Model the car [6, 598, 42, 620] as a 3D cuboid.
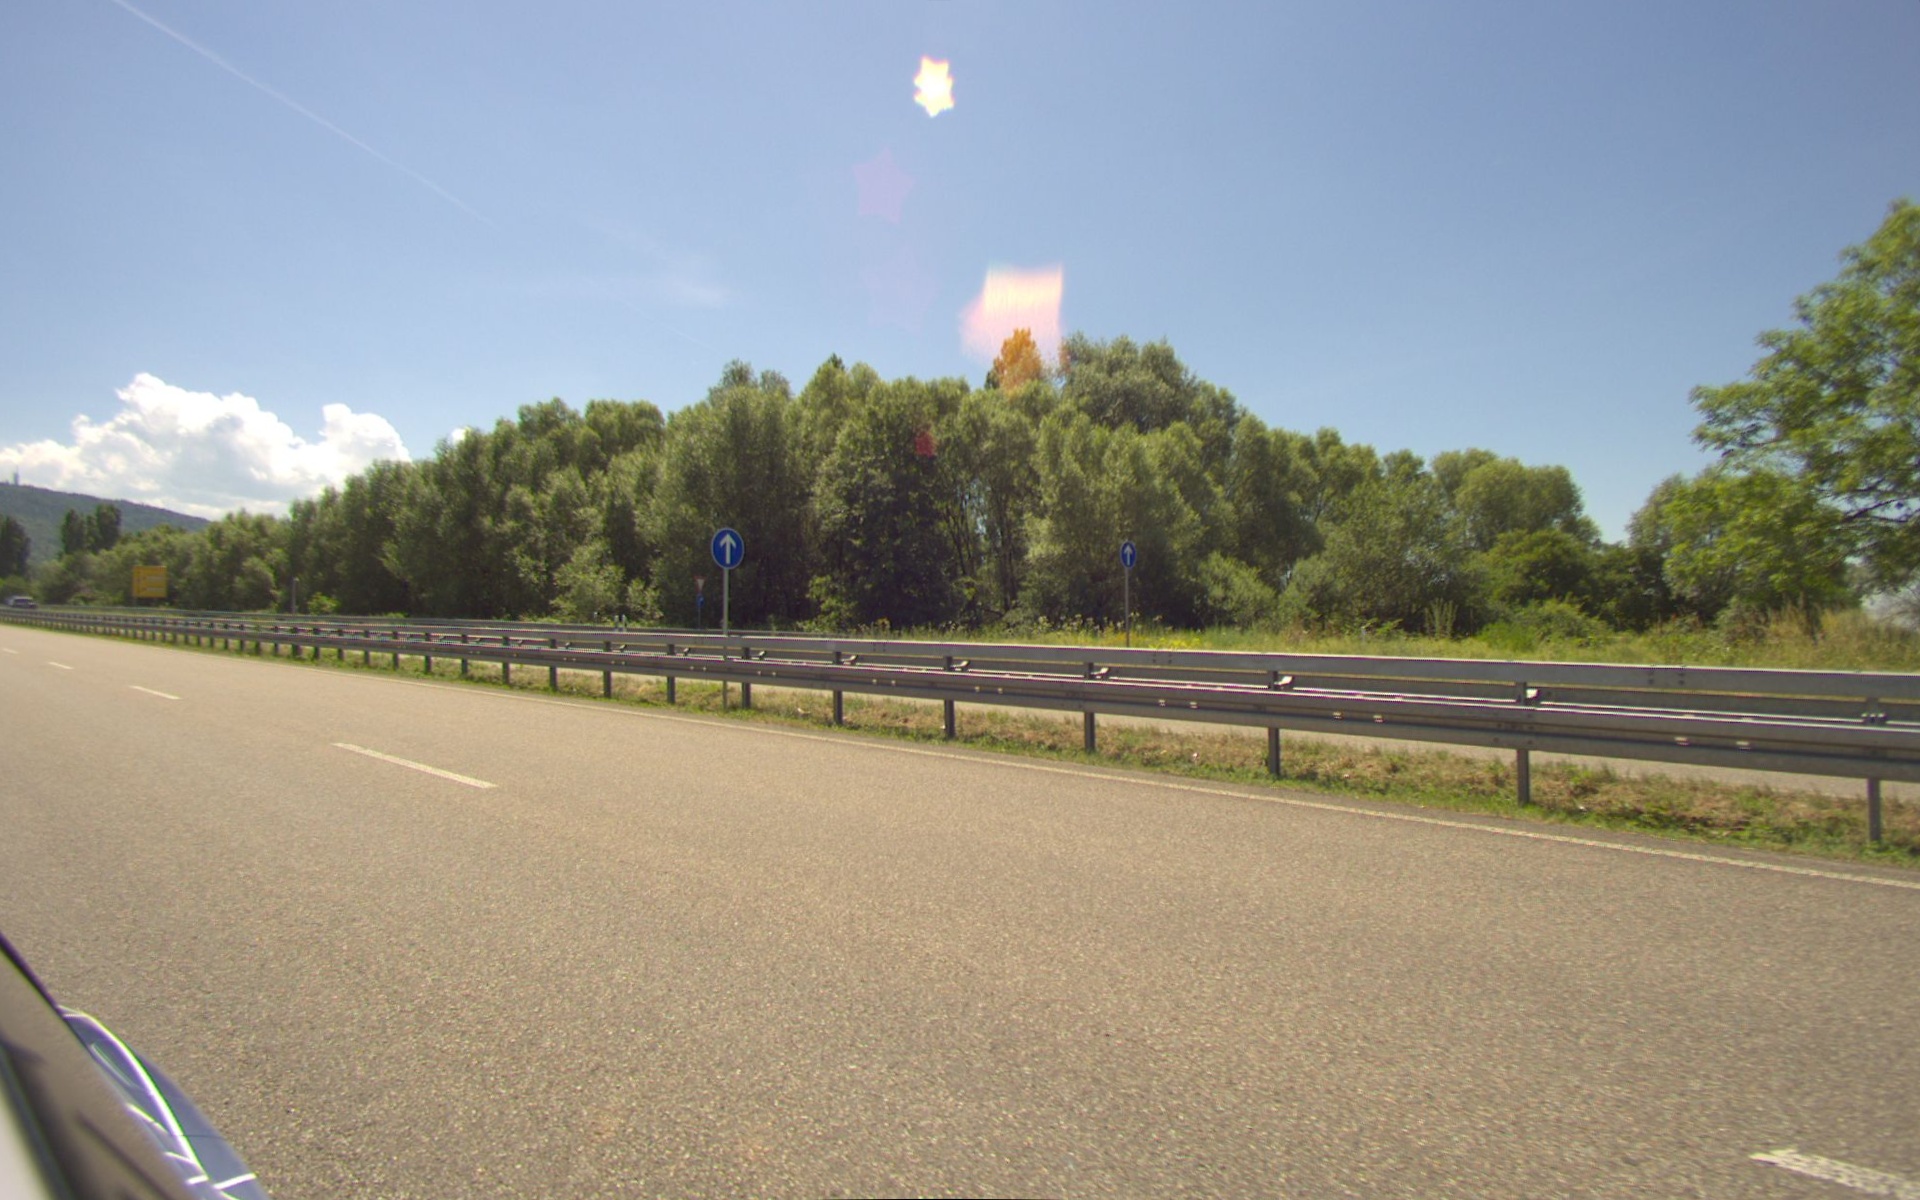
[{"bbox_3d":[-81.310,0.783,87.875,4.658,1.844,1.843,0,0,41],"label":"car"}]
